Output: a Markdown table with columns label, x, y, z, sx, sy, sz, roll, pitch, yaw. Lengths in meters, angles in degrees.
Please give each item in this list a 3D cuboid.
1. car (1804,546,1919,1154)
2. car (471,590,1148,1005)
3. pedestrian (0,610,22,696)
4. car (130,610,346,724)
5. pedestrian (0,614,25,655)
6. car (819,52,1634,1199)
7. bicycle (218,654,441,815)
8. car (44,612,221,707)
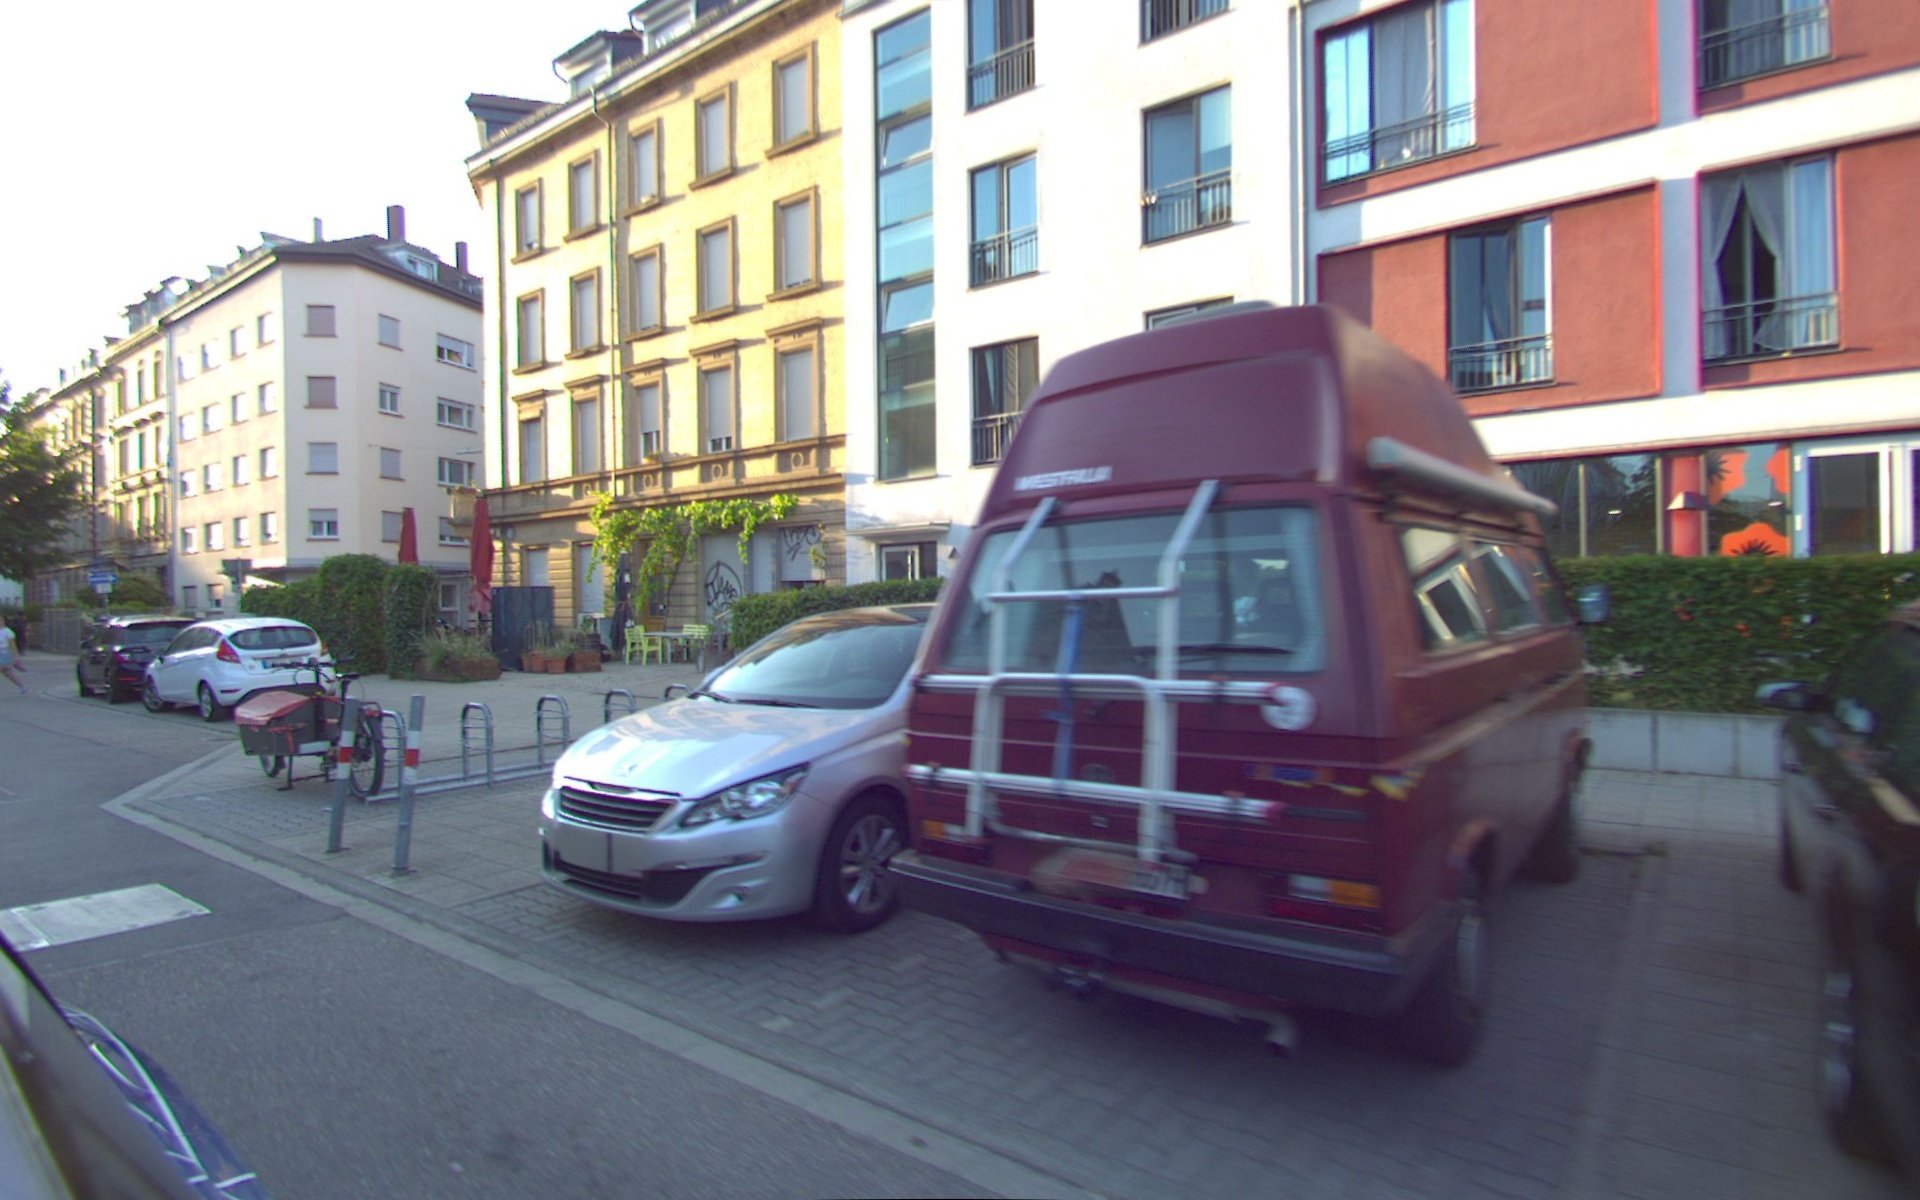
| label | x | y | z | sx | sy | sz | roll | pitch | yaw |
| --- | --- | --- | --- | --- | --- | --- | --- | --- | --- |
| car | 3.690 | 0.603 | 2.863 | 1.702 | 1.536 | 4.297 | -1 | 1 | 36 |
| car | -0.456 | 0.719 | 5.872 | 1.798 | 1.426 | 3.949 | -1 | 1 | 30 |
| pedestrian | -18.124 | 0.996 | 18.998 | 0.637 | 1.586 | 0.594 | -1 | 0 | 31 |
| car | -11.365 | 0.967 | 15.874 | 3.575 | 1.522 | 1.660 | -1 | 1 | 35 |
| pedestrian | -36.064 | 1.313 | 38.497 | 0.637 | 1.545 | 0.637 | -1 | -1 | 39 |
| car | 1.632 | 0.120 | 4.467 | 1.929 | 2.576 | 4.360 | -1 | 0 | 38 |
| bicycle | -5.223 | 1.020 | 8.306 | 2.411 | 1.061 | 0.795 | -1 | 0 | 39 |
| car | -15.402 | 1.024 | 18.788 | 3.730 | 1.534 | 1.579 | -1 | 2 | 35 |
